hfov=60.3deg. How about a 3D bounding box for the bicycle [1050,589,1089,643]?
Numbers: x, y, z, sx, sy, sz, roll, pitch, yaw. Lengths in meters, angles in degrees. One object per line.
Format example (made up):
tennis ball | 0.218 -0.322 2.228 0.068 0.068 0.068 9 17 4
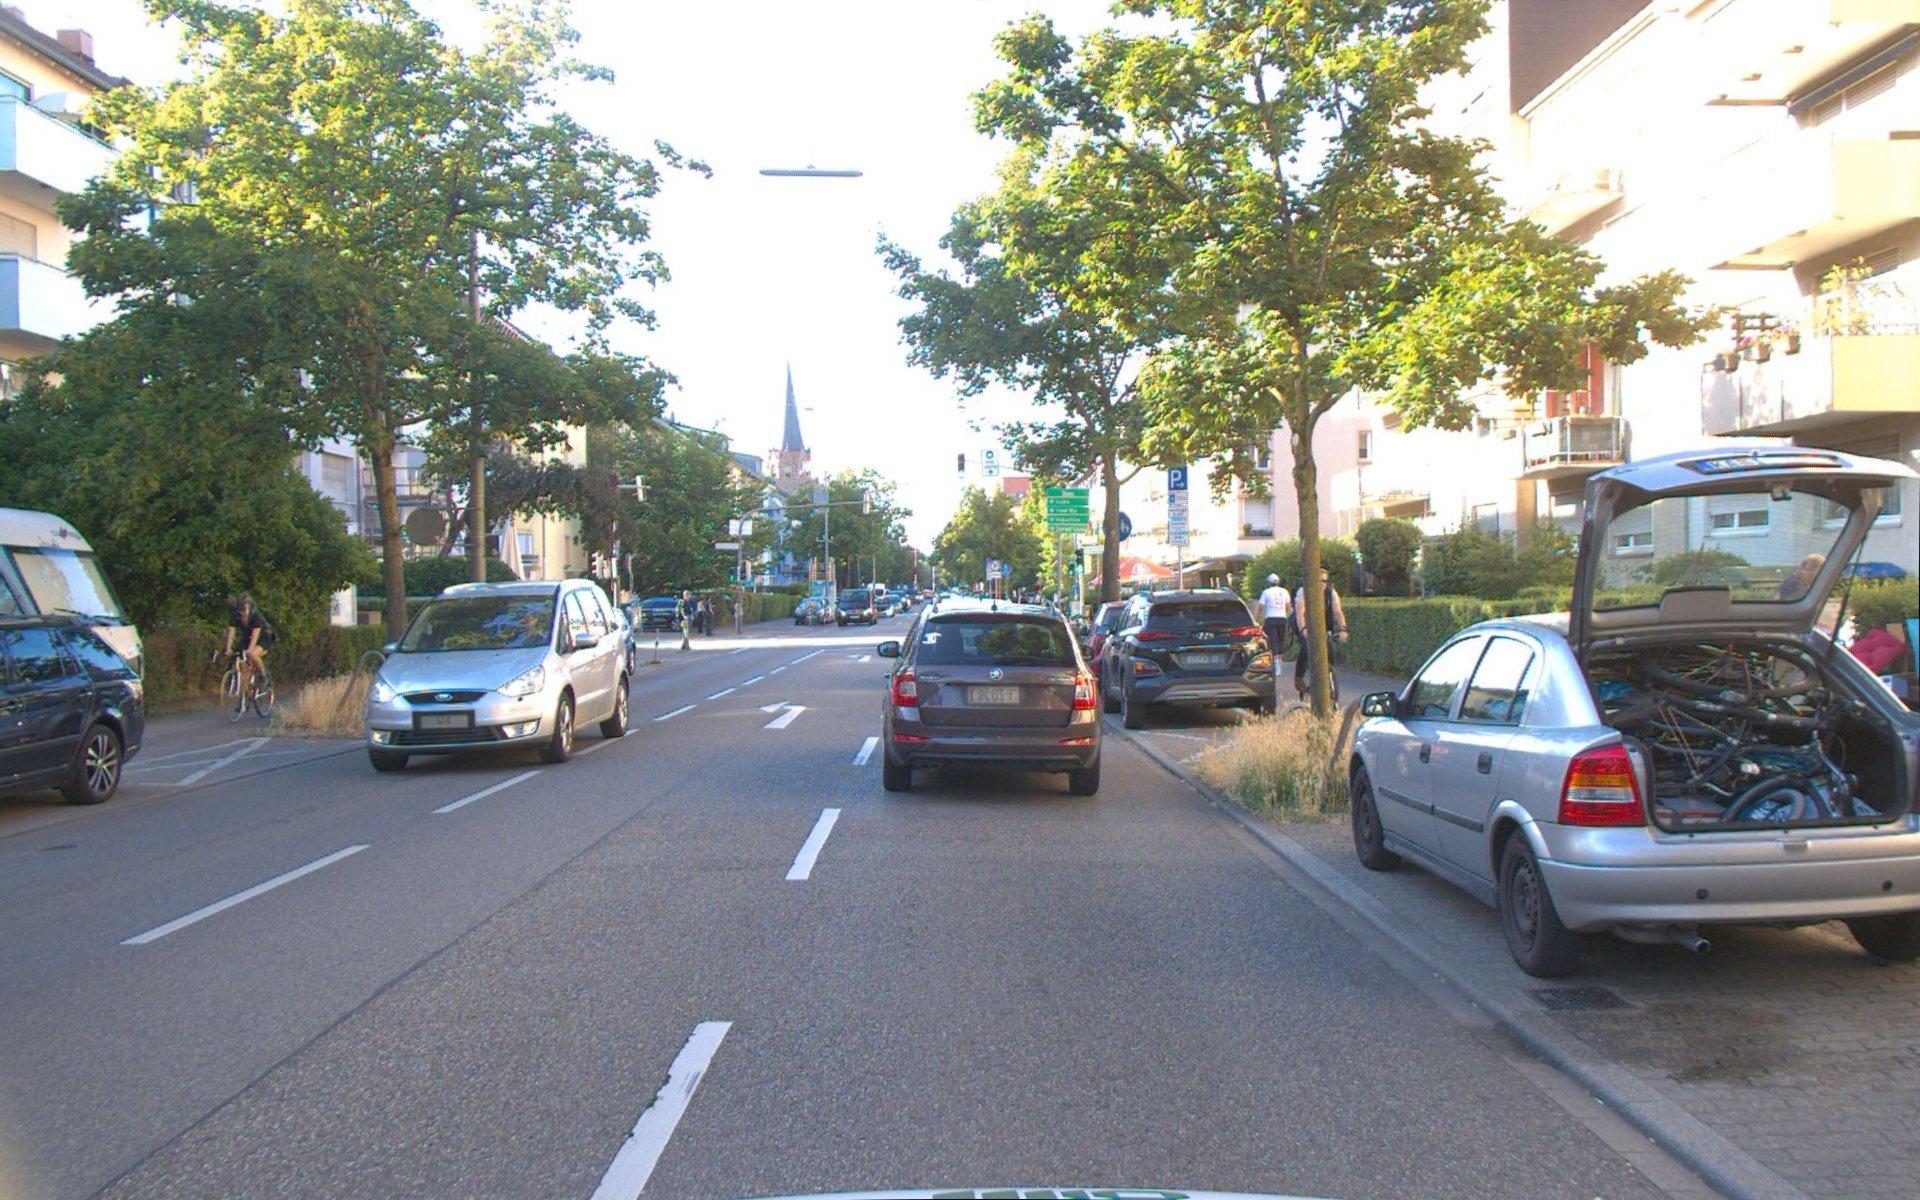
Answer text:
bicycle | 2.497 0.367 37.871 0.492 1.167 1.956 -3 0 -6

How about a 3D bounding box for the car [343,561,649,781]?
car | -4.480 0.608 16.771 1.769 1.836 4.745 -2 0 -1

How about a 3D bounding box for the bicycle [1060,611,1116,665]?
bicycle | 2.635 0.769 33.967 0.606 1.069 1.572 -1 0 25

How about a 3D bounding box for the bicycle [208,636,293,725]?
bicycle | -9.318 1.042 21.777 0.476 1.083 1.534 -1 0 -1

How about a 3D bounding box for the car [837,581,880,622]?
car | -5.238 0.053 85.893 1.953 1.942 4.963 -3 0 -1

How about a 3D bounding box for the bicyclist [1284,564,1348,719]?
bicyclist | 4.278 0.484 19.899 0.569 1.820 0.852 -1 0 -1

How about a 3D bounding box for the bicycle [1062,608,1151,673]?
bicycle | 2.602 0.713 29.361 1.538 1.123 0.392 -1 0 0

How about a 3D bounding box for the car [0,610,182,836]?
car | -7.576 0.867 11.899 1.829 1.521 4.517 1 0 0

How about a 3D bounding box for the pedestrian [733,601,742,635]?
pedestrian | -9.885 0.798 73.457 0.294 1.530 0.640 -1 0 0

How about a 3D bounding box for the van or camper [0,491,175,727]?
van or camper | -13.913 0.029 21.005 6.660 2.821 2.351 2 0 -2

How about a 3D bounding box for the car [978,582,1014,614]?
car | 2.116 -0.127 95.466 1.952 1.803 4.001 1 0 2

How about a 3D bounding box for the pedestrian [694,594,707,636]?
pedestrian | -11.336 0.645 72.261 0.440 1.828 0.504 -1 0 0

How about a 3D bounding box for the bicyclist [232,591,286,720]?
bicyclist | -9.333 0.725 22.034 0.459 1.692 0.552 -1 0 -1

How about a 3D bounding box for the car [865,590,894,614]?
car | -5.626 0.114 115.653 1.793 1.607 4.000 -1 0 0

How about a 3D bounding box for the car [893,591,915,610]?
car | -4.918 0.043 145.088 1.751 1.598 4.000 1 0 0

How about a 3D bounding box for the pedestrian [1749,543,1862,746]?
pedestrian | 7.176 0.363 14.036 0.742 1.668 0.693 -1 0 36

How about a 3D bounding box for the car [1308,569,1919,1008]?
car | 3.046 0.661 8.085 1.673 1.506 4.267 -3 0 -1

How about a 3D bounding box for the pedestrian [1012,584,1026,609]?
pedestrian | 4.196 -0.248 117.350 0.661 1.734 0.800 -1 0 26

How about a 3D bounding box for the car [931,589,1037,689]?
car | 0.401 0.629 28.963 1.701 1.598 4.000 1 0 0

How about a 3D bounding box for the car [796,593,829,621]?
car | -8.088 0.381 91.073 1.491 1.482 3.584 -1 0 0

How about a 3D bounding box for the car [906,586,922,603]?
car | -5.843 -0.699 211.054 1.953 2.049 4.000 -1 0 0

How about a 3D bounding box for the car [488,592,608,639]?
car | -17.156 0.632 69.032 4.540 1.843 1.861 -1 0 -1

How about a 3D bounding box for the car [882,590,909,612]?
car | -5.171 0.068 132.870 1.953 1.639 4.000 -1 0 0

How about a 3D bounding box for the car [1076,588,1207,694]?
car | 2.771 0.582 25.929 1.668 1.475 4.014 -2 0 2

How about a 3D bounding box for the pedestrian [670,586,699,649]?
pedestrian | -9.027 0.565 54.270 0.764 2.022 0.821 -1 0 0

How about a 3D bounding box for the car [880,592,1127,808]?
car | 0.273 0.697 13.836 1.737 1.515 4.310 0 0 -1

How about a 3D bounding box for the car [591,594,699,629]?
car | -14.229 0.499 74.957 4.540 1.562 1.861 0 0 -1

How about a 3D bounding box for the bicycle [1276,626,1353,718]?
bicycle | 4.233 0.840 19.843 0.505 1.004 1.831 -1 0 0

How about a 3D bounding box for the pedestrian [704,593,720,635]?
pedestrian | -10.783 0.613 71.860 0.603 1.828 0.504 -1 0 0

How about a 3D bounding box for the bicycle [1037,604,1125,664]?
bicycle | 2.619 0.729 35.687 1.796 1.178 0.684 -3 0 6

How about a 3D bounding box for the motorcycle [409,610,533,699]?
motorcycle | -7.404 0.809 24.994 2.015 1.287 0.764 -1 0 38

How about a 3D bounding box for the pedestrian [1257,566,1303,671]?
pedestrian | 5.569 0.320 28.844 0.648 1.779 0.773 -2 0 6

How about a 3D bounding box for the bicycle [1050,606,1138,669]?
bicycle | 2.653 0.740 32.728 1.651 1.127 0.517 -3 0 6

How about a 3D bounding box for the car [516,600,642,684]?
car | -7.601 0.793 33.330 1.615 1.544 4.073 1 0 0

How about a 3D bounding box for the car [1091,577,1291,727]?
car | 2.758 0.580 20.633 1.818 1.609 4.012 -2 0 -1
